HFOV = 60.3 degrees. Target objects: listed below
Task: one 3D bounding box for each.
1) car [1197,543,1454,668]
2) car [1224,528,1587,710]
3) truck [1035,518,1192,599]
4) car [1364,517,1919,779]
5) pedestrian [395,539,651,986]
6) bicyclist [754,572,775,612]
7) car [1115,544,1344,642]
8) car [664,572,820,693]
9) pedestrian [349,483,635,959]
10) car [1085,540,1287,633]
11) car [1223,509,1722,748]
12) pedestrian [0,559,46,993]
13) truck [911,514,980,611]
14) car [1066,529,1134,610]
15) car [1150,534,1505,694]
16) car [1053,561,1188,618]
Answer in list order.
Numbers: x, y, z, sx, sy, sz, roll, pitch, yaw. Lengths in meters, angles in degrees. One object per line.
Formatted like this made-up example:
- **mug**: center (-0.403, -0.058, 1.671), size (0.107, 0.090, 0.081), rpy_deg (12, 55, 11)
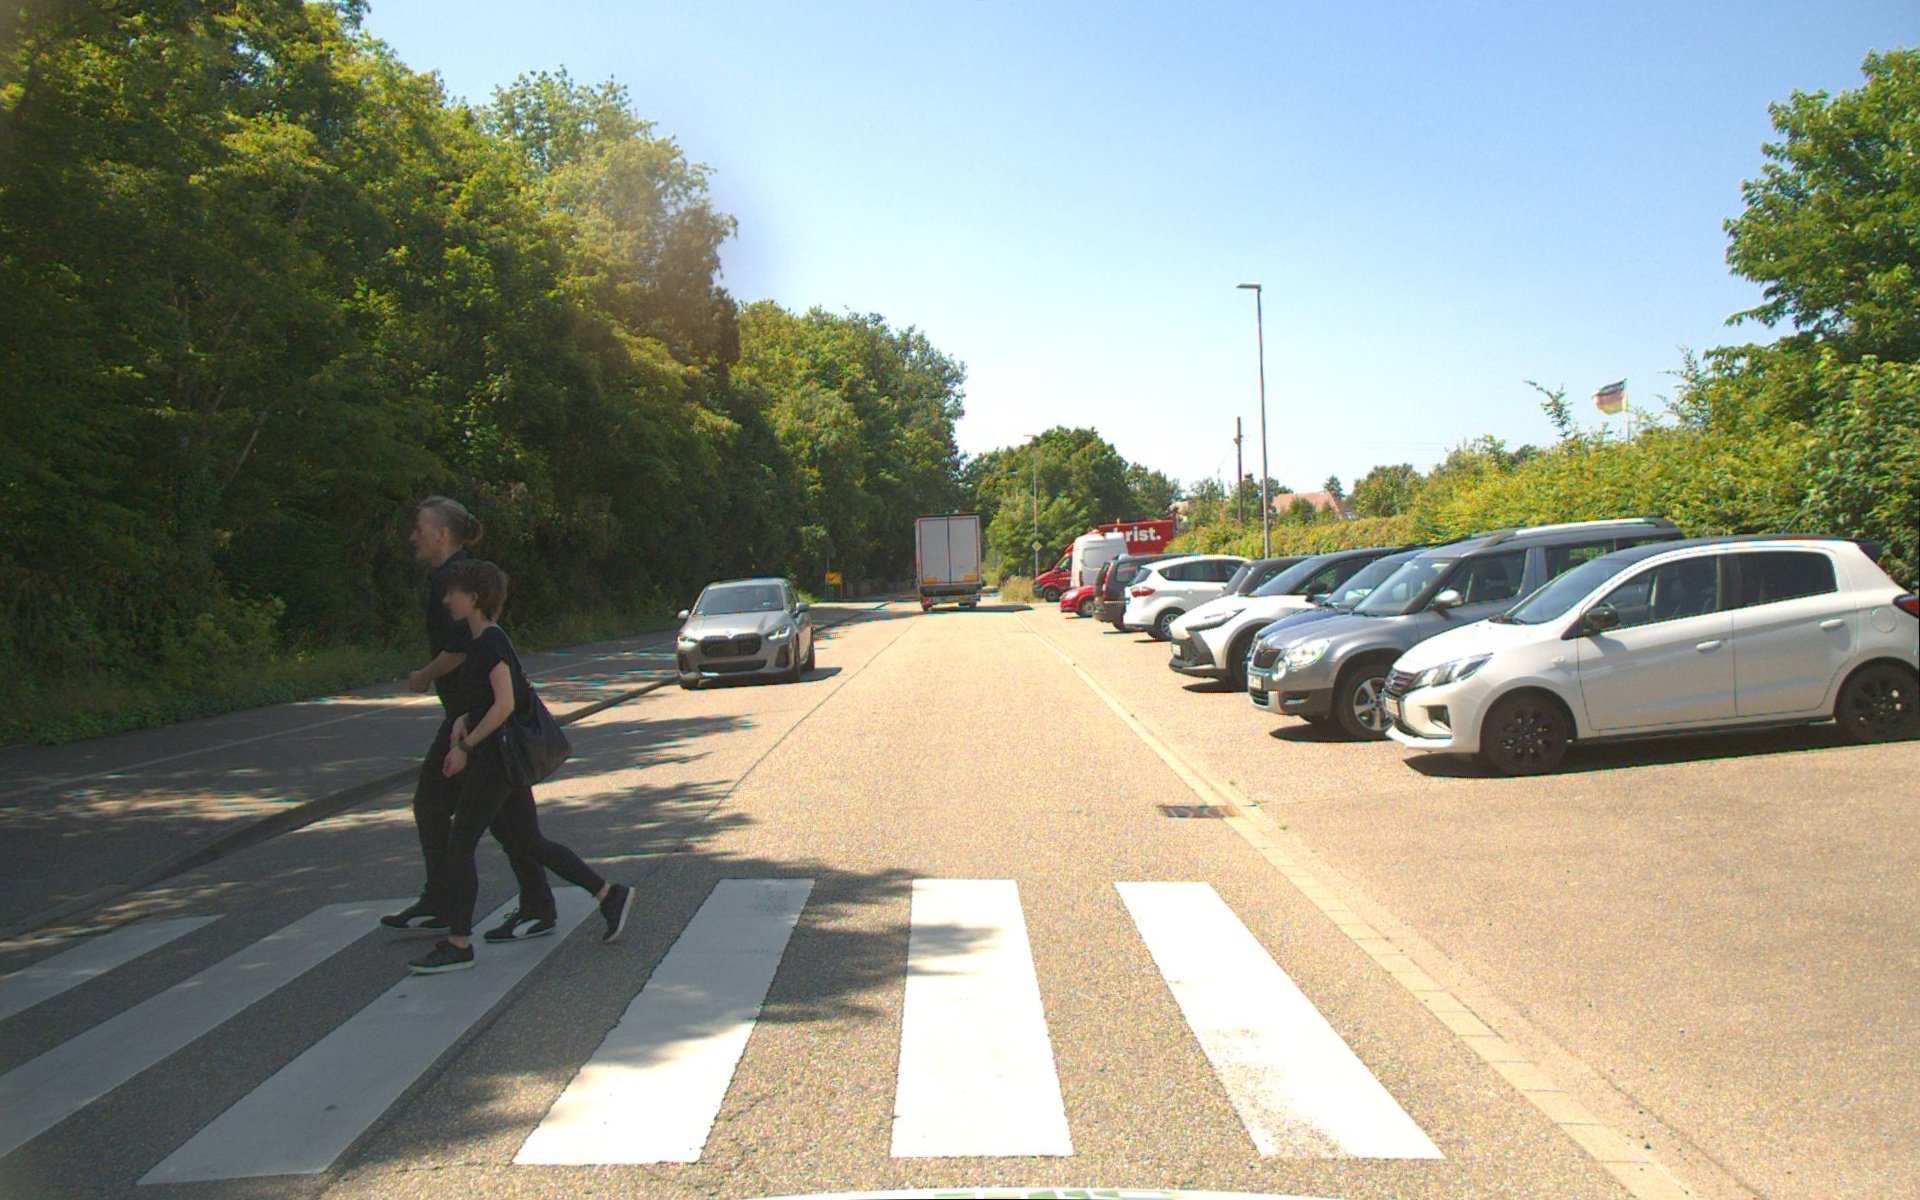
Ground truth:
- **car**: center (5.191, 0.058, 23.795), size (3.317, 1.529, 1.589), rpy_deg (-4, 1, 3)
- **car**: center (4.763, 0.177, 17.928), size (3.386, 1.553, 1.538), rpy_deg (-6, 1, -5)
- **truck**: center (7.178, -1.948, 76.942), size (6.984, 3.500, 2.332), rpy_deg (-1, 2, 11)
- **car**: center (4.994, 0.309, 12.132), size (3.613, 1.475, 1.611), rpy_deg (-5, 1, 3)
- **pedestrian**: center (-1.737, 0.604, 6.649), size (0.878, 1.639, 0.778), rpy_deg (-2, 0, -14)
- **bicyclist**: center (-7.947, -0.341, 67.342), size (0.635, 1.592, 0.837), rpy_deg (-2, 1, 4)
- **car**: center (5.368, -0.148, 33.249), size (4.191, 1.605, 1.765), rpy_deg (-4, 1, -2)
- **car**: center (-3.321, 0.434, 26.008), size (1.853, 1.558, 4.196), rpy_deg (-6, 1, -1)
- **pedestrian**: center (-2.006, 0.483, 7.199), size (1.064, 1.897, 0.781), rpy_deg (-2, 0, -14)
- **car**: center (5.336, -0.331, 39.459), size (4.366, 1.836, 1.951), rpy_deg (-4, 0, -4)
- **car**: center (4.556, 0.218, 14.996), size (3.885, 1.668, 1.662), rpy_deg (-6, 1, -6)
- **pedestrian**: center (-4.534, 0.750, 6.607), size (1.132, 1.782, 1.022), rpy_deg (-3, 0, -4)
- **truck**: center (-0.484, -1.582, 71.959), size (2.677, 3.811, 13.247), rpy_deg (-1, 1, 1)
- **car**: center (5.232, -1.182, 62.850), size (1.914, 2.780, 7.169), rpy_deg (-4, 1, 1)
- **car**: center (4.544, 0.146, 20.794), size (3.887, 1.549, 1.862), rpy_deg (-6, 1, -6)
- **car**: center (5.041, -0.338, 52.320), size (3.974, 1.458, 1.835), rpy_deg (-4, 1, -3)
